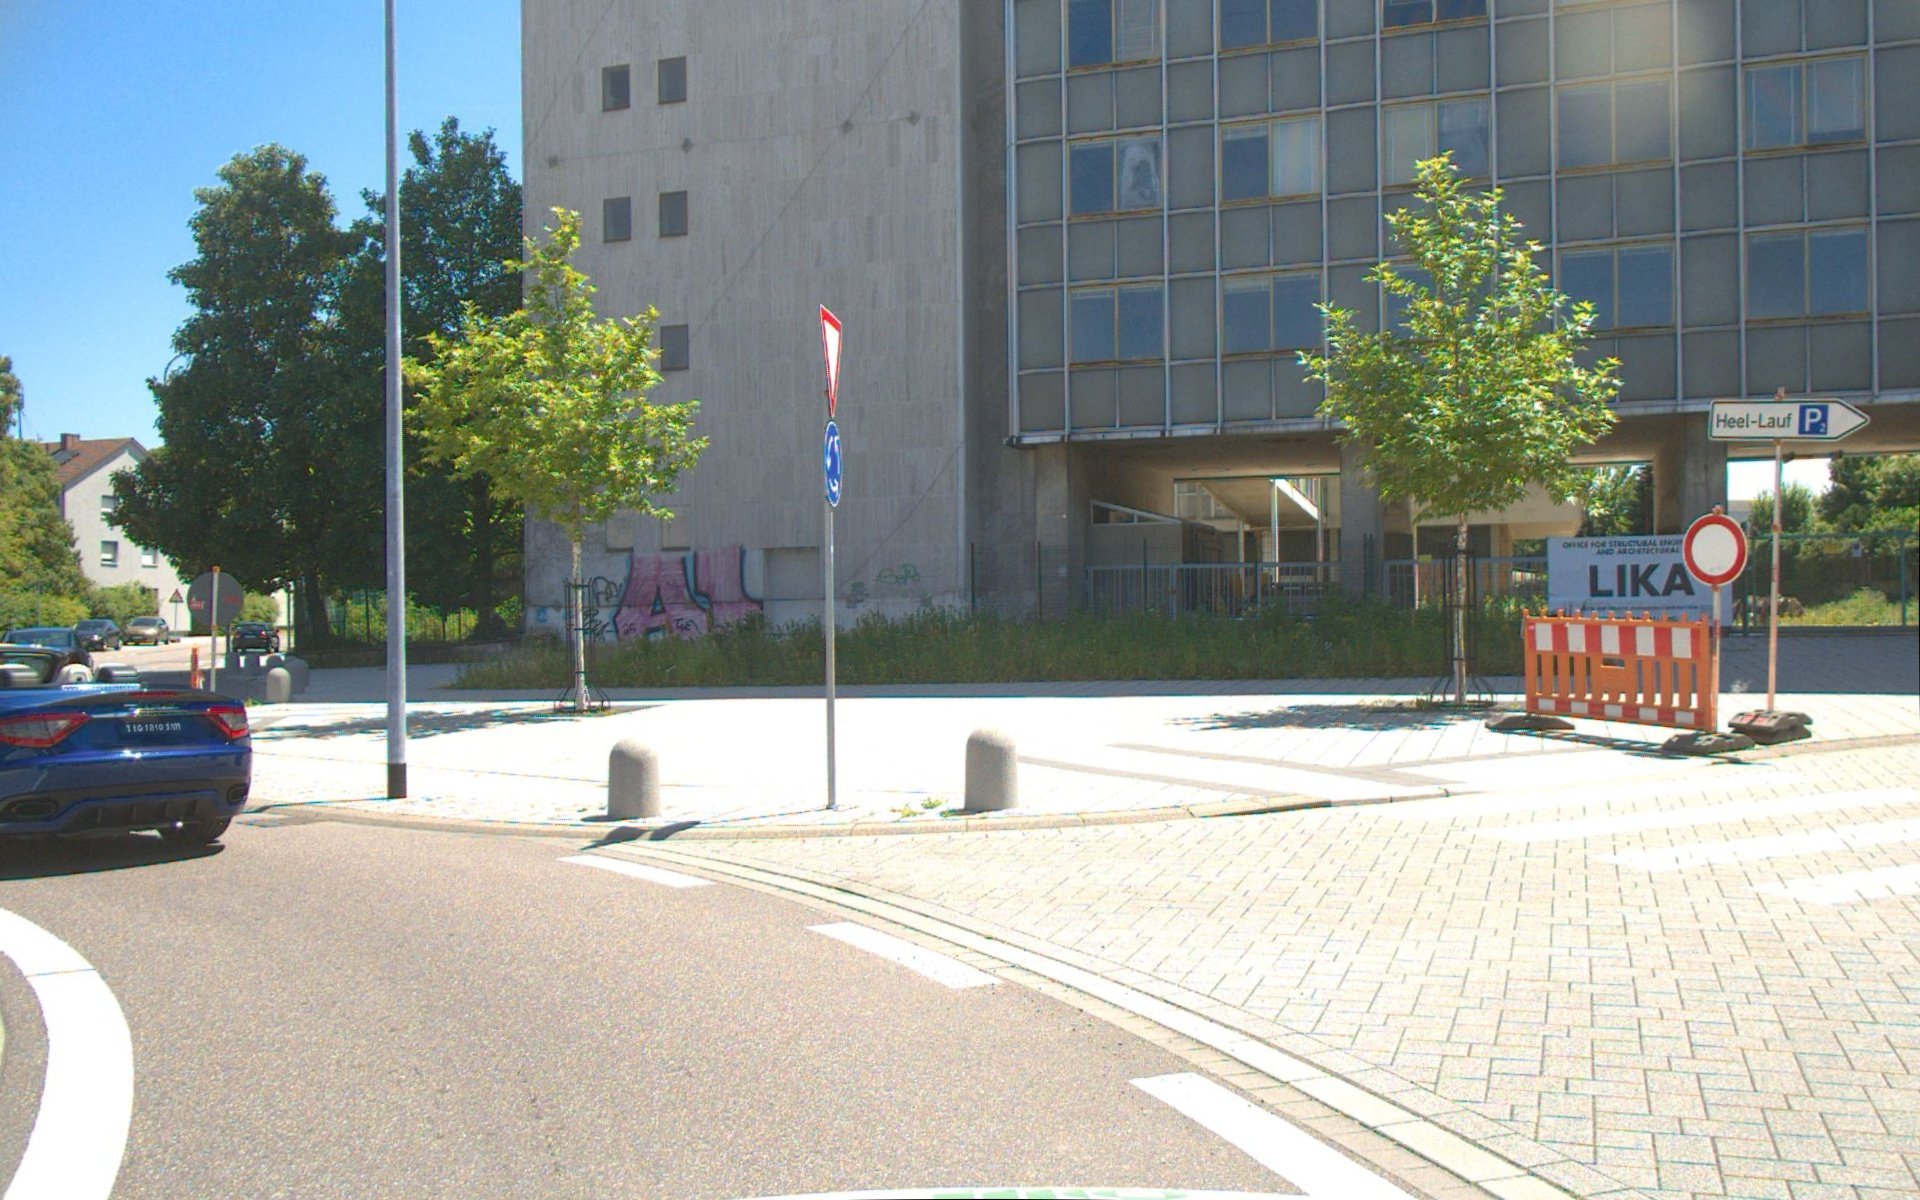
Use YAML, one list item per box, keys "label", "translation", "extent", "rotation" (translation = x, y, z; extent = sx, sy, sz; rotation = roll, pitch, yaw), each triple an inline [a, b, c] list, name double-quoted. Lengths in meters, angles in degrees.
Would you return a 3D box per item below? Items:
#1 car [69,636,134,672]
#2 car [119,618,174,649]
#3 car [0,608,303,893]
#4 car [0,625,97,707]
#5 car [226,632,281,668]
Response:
- label: "car"
  translation: [-39.371, 2.450, 75.920]
  extent: [1.708, 1.461, 3.699]
  rotation: [-2, 1, -12]
- label: "car"
  translation: [-42.648, 1.757, 86.753]
  extent: [1.708, 1.461, 3.699]
  rotation: [-2, 1, -12]
- label: "car"
  translation: [-6.531, 0.934, 11.109]
  extent: [4.415, 1.557, 1.870]
  rotation: [-3, -3, 36]
- label: "car"
  translation: [-18.482, 1.282, 33.450]
  extent: [1.718, 1.461, 3.678]
  rotation: [-2, 1, -27]
- label: "car"
  translation: [-33.139, 2.328, 77.664]
  extent: [1.709, 1.461, 3.698]
  rotation: [-2, 1, -13]
